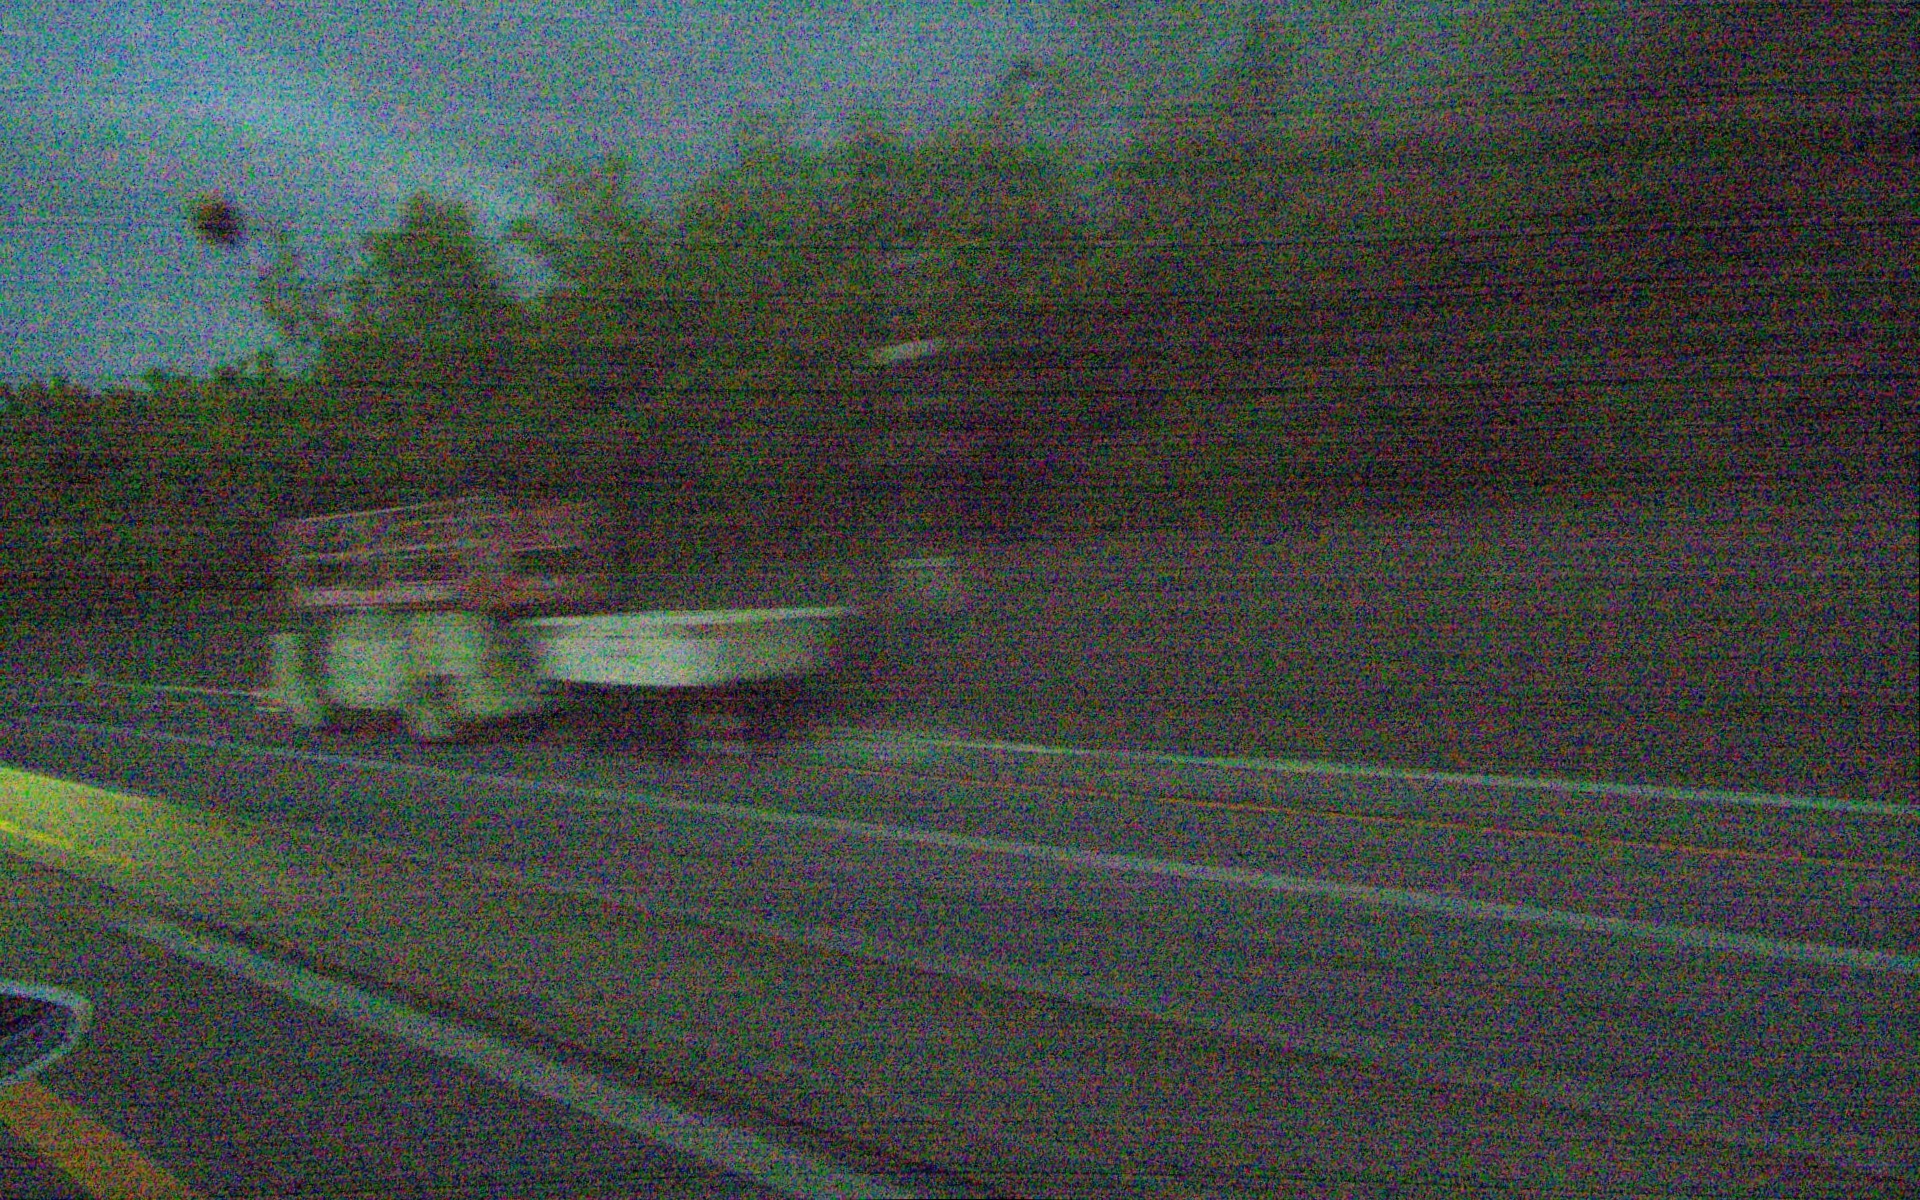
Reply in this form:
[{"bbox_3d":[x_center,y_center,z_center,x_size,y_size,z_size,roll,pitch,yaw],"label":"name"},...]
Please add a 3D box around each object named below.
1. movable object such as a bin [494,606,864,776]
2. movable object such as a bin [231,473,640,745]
[{"bbox_3d":[-3.342,0.951,11.741,4.028,1.622,1.989,-2,0,33],"label":"movable object such as a bin"},{"bbox_3d":[-7.543,0.165,14.252,5.723,3.149,2.616,-1,0,32],"label":"movable object such as a bin"}]
